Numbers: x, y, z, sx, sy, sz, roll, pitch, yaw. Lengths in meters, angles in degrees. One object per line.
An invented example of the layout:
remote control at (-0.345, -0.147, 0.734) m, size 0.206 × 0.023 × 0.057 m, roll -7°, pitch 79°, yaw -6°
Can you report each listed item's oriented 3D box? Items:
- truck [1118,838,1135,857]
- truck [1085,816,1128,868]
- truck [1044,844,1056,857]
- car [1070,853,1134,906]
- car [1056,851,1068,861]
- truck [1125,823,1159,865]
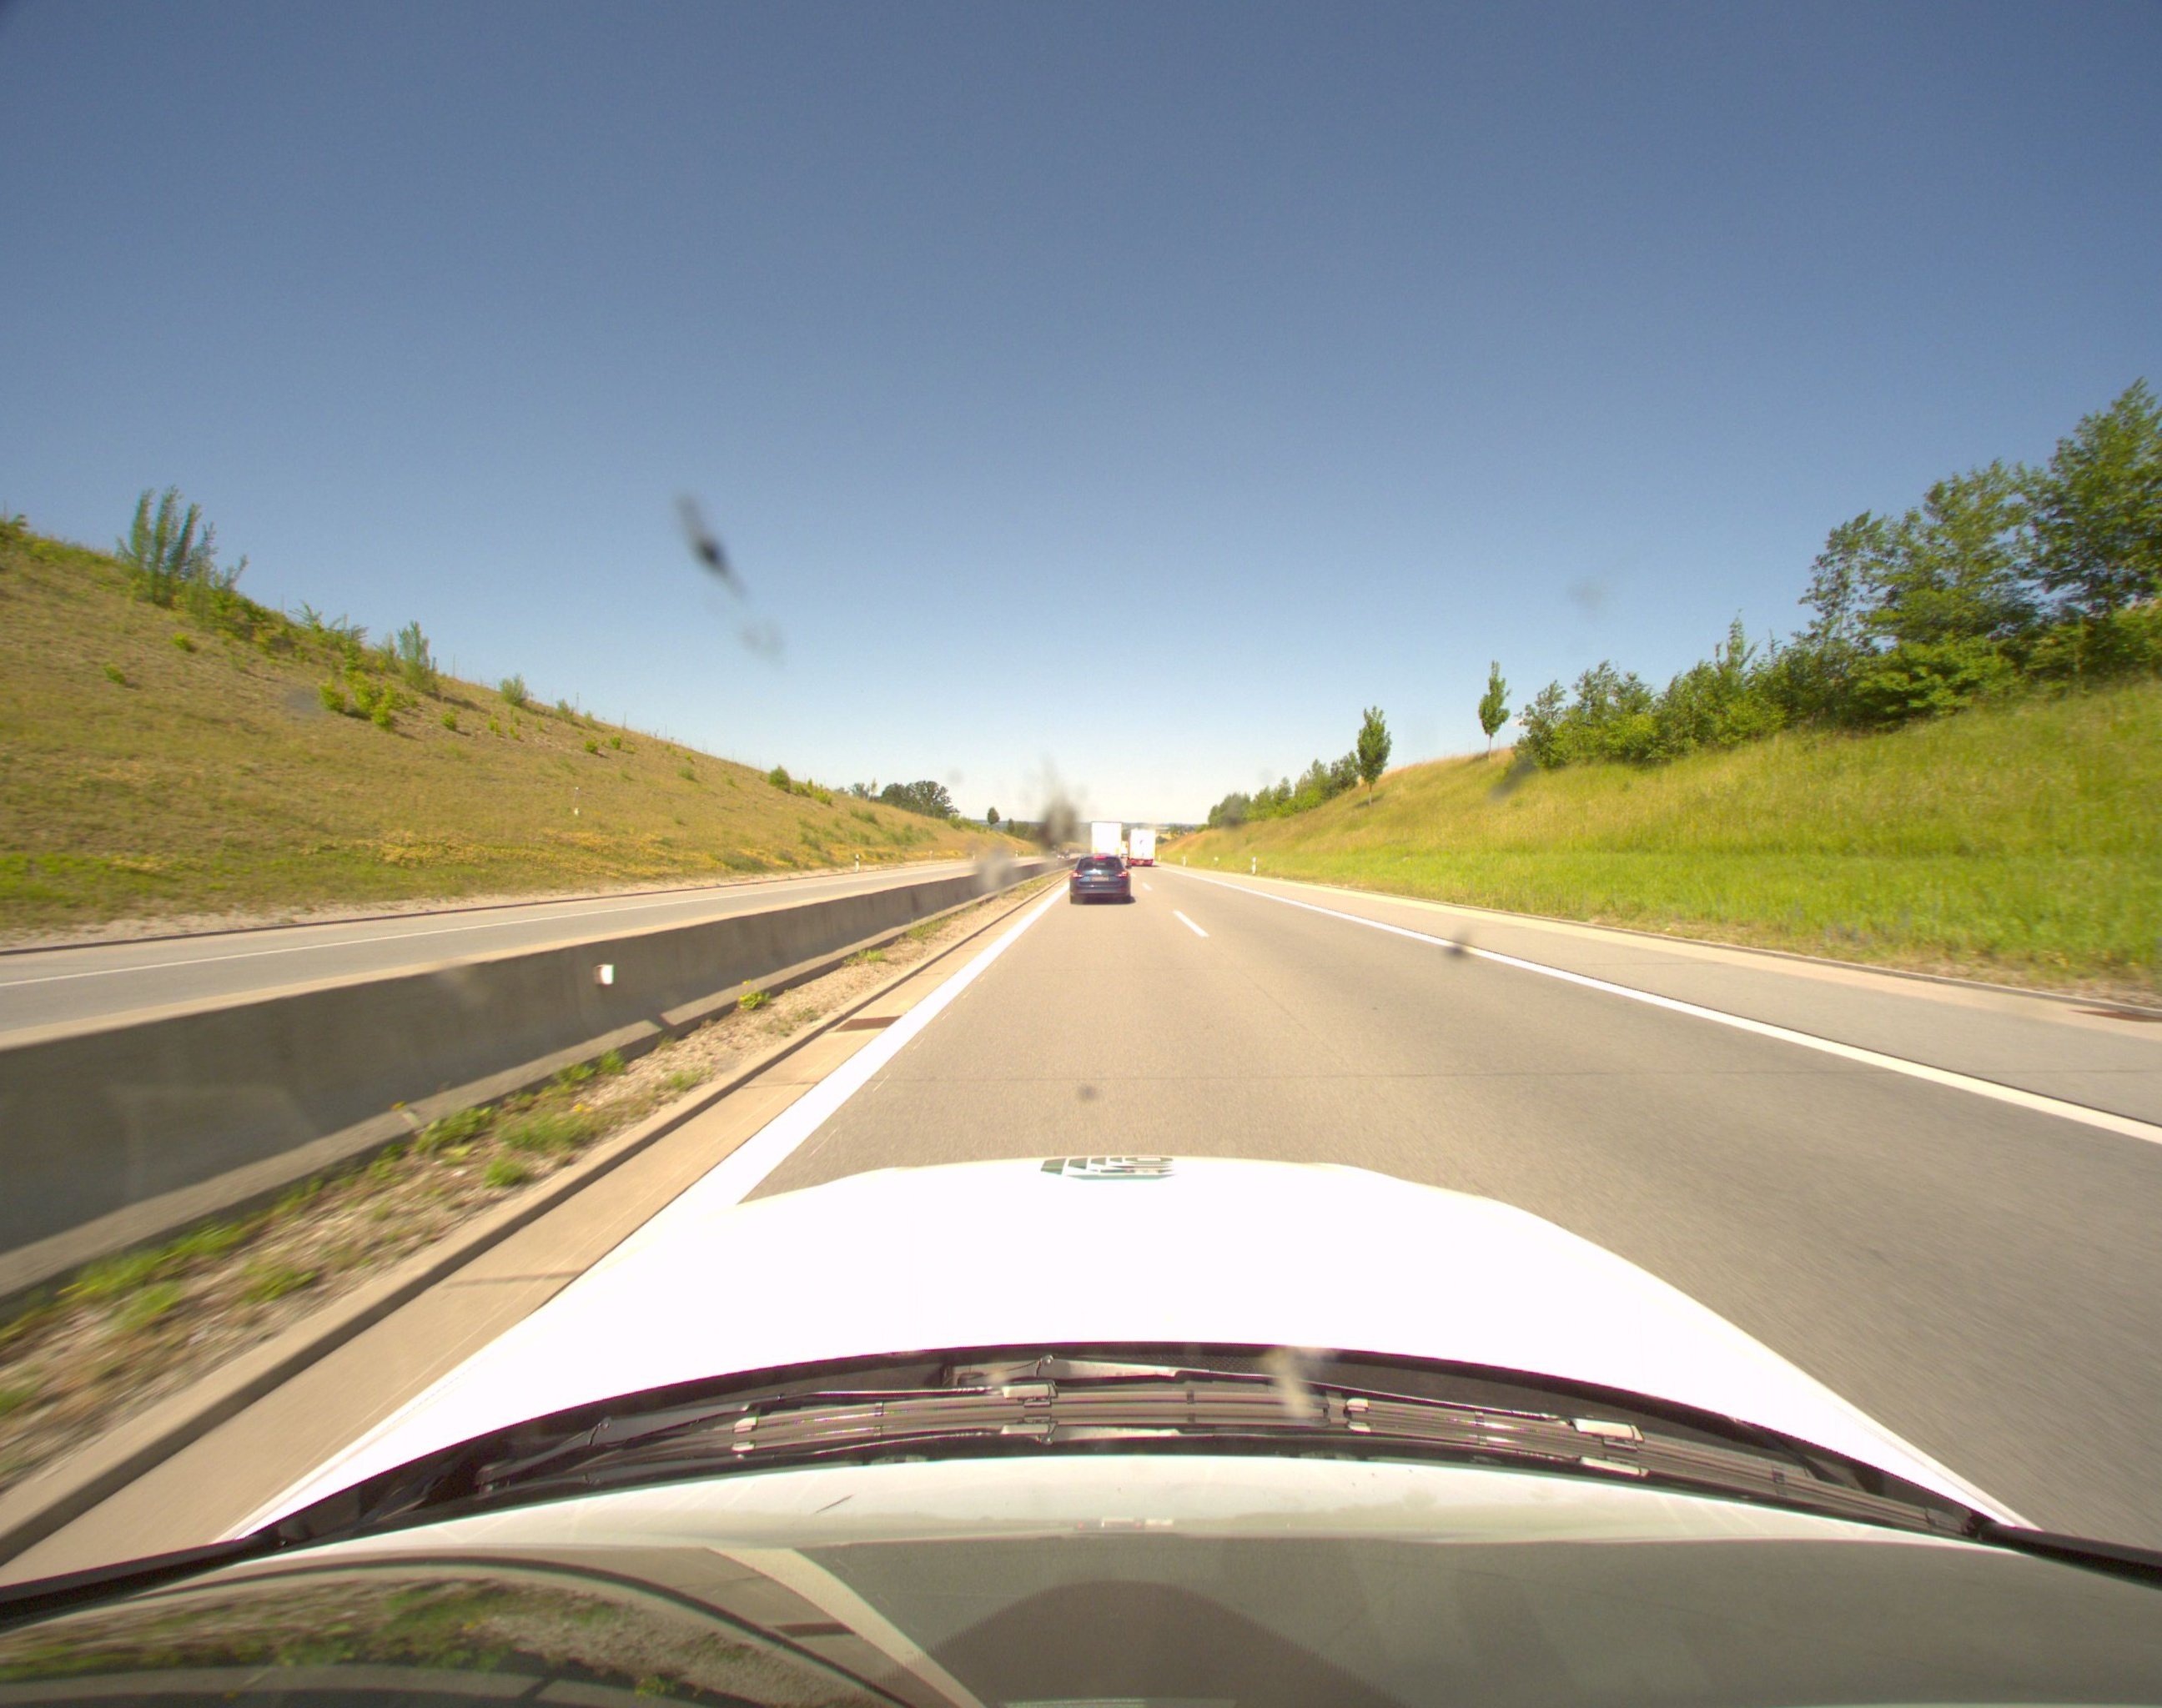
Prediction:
truck at (10.988, -1.451, 195.961) m, size 3.588 × 4.381 × 11.248 m, roll 0°, pitch 0°, yaw 5°
truck at (2.456, -1.033, 73.523) m, size 3.195 × 4.381 × 11.249 m, roll 0°, pitch 0°, yaw 5°
truck at (-6.030, -0.673, 159.940) m, size 1.986 × 2.448 × 5.670 m, roll 1°, pitch 0°, yaw 1°
car at (0.619, 0.724, 24.744) m, size 1.770 × 1.441 × 3.789 m, roll -1°, pitch 0°, yaw 1°
car at (-3.012, 0.300, 130.625) m, size 1.768 × 1.449 × 4.183 m, roll 0°, pitch 0°, yaw 0°
truck at (6.890, -1.114, 91.231) m, size 3.588 × 4.381 × 11.248 m, roll 0°, pitch 0°, yaw 5°
